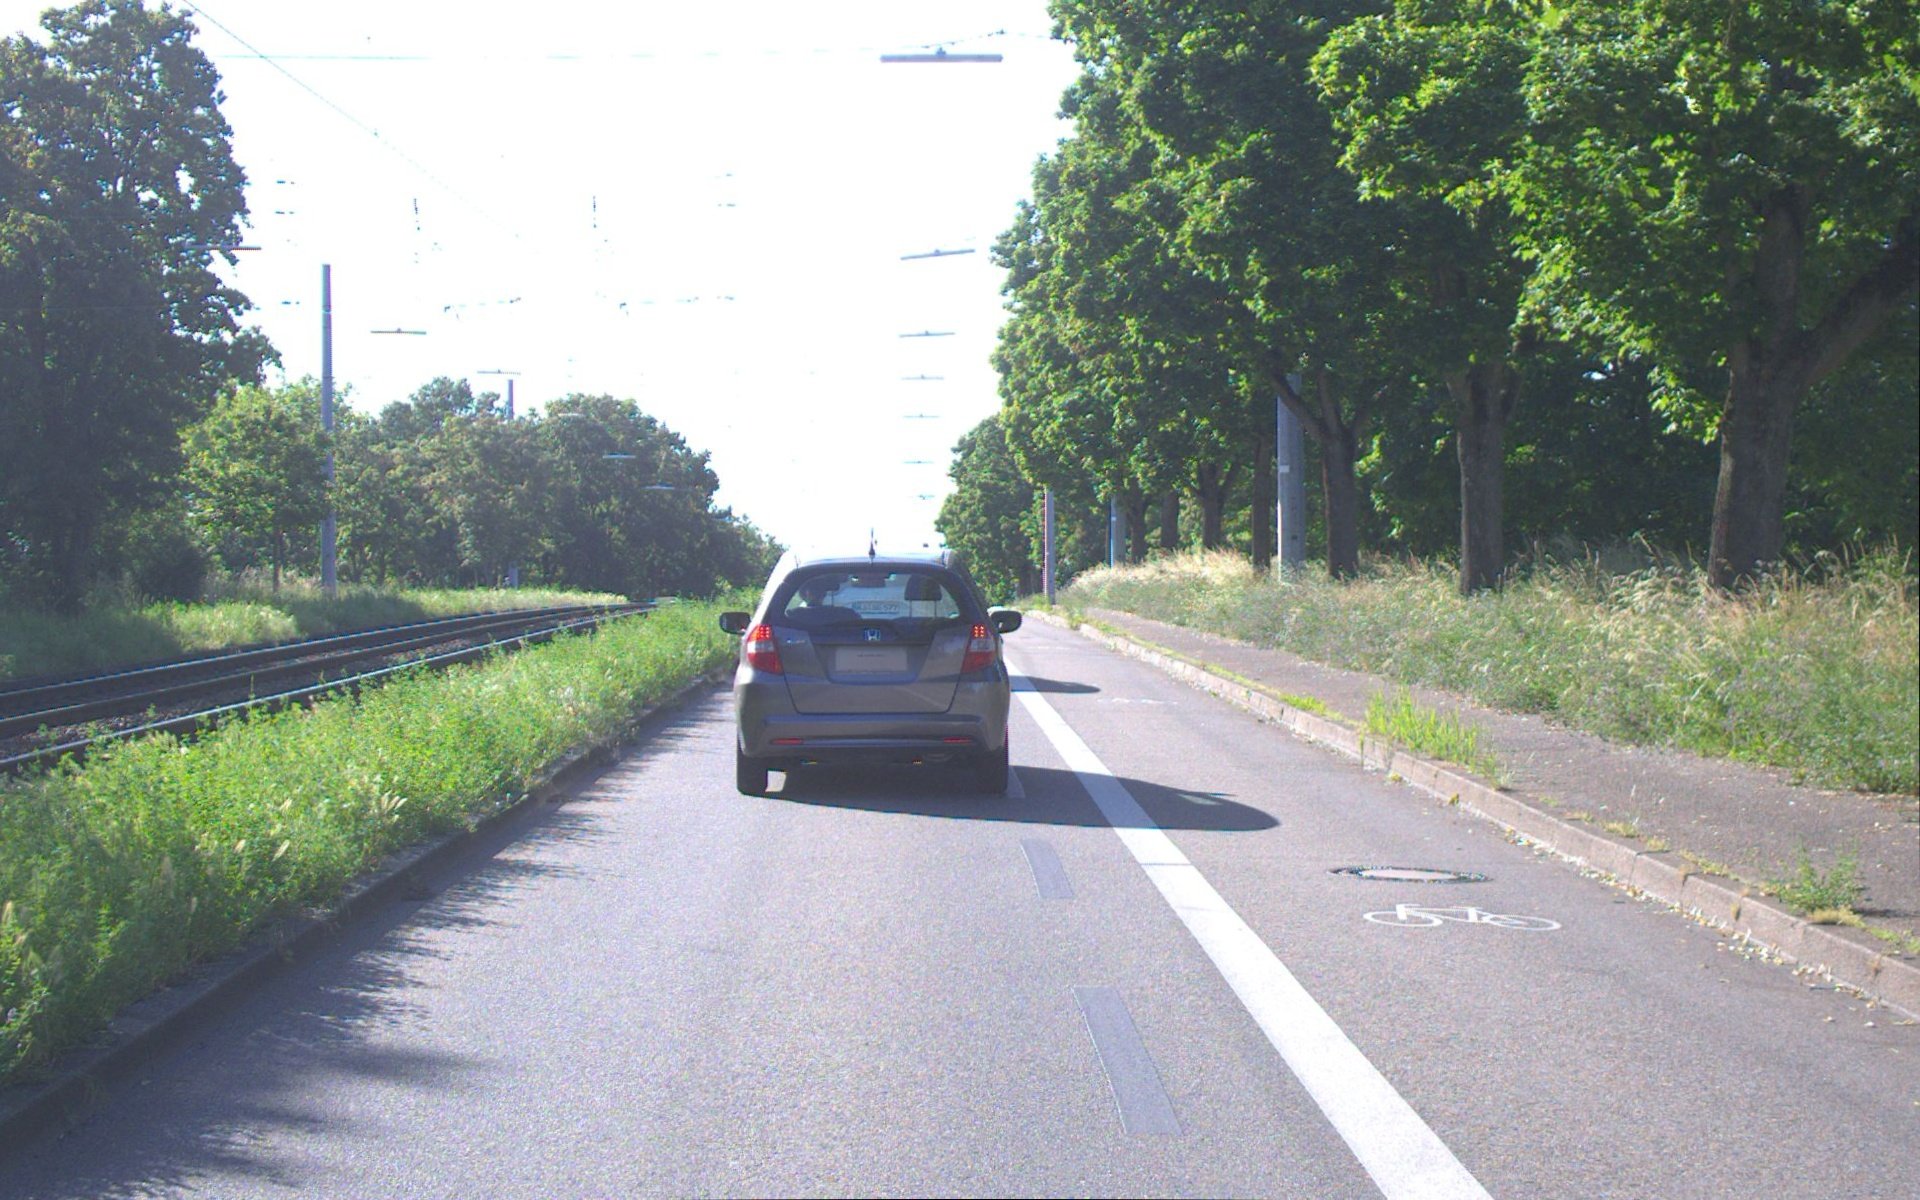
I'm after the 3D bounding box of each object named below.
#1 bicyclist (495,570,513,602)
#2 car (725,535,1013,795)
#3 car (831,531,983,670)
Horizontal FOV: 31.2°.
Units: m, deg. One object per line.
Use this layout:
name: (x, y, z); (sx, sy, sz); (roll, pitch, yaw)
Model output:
bicyclist: (-18.539, -0.564, 139.768); (0.582, 1.306, 0.987); (1, 1, 0)
car: (-0.540, 0.360, 22.142); (1.670, 1.502, 3.811); (1, 1, 0)
car: (-0.590, -0.021, 39.877); (1.654, 1.502, 3.811); (1, 1, 0)
